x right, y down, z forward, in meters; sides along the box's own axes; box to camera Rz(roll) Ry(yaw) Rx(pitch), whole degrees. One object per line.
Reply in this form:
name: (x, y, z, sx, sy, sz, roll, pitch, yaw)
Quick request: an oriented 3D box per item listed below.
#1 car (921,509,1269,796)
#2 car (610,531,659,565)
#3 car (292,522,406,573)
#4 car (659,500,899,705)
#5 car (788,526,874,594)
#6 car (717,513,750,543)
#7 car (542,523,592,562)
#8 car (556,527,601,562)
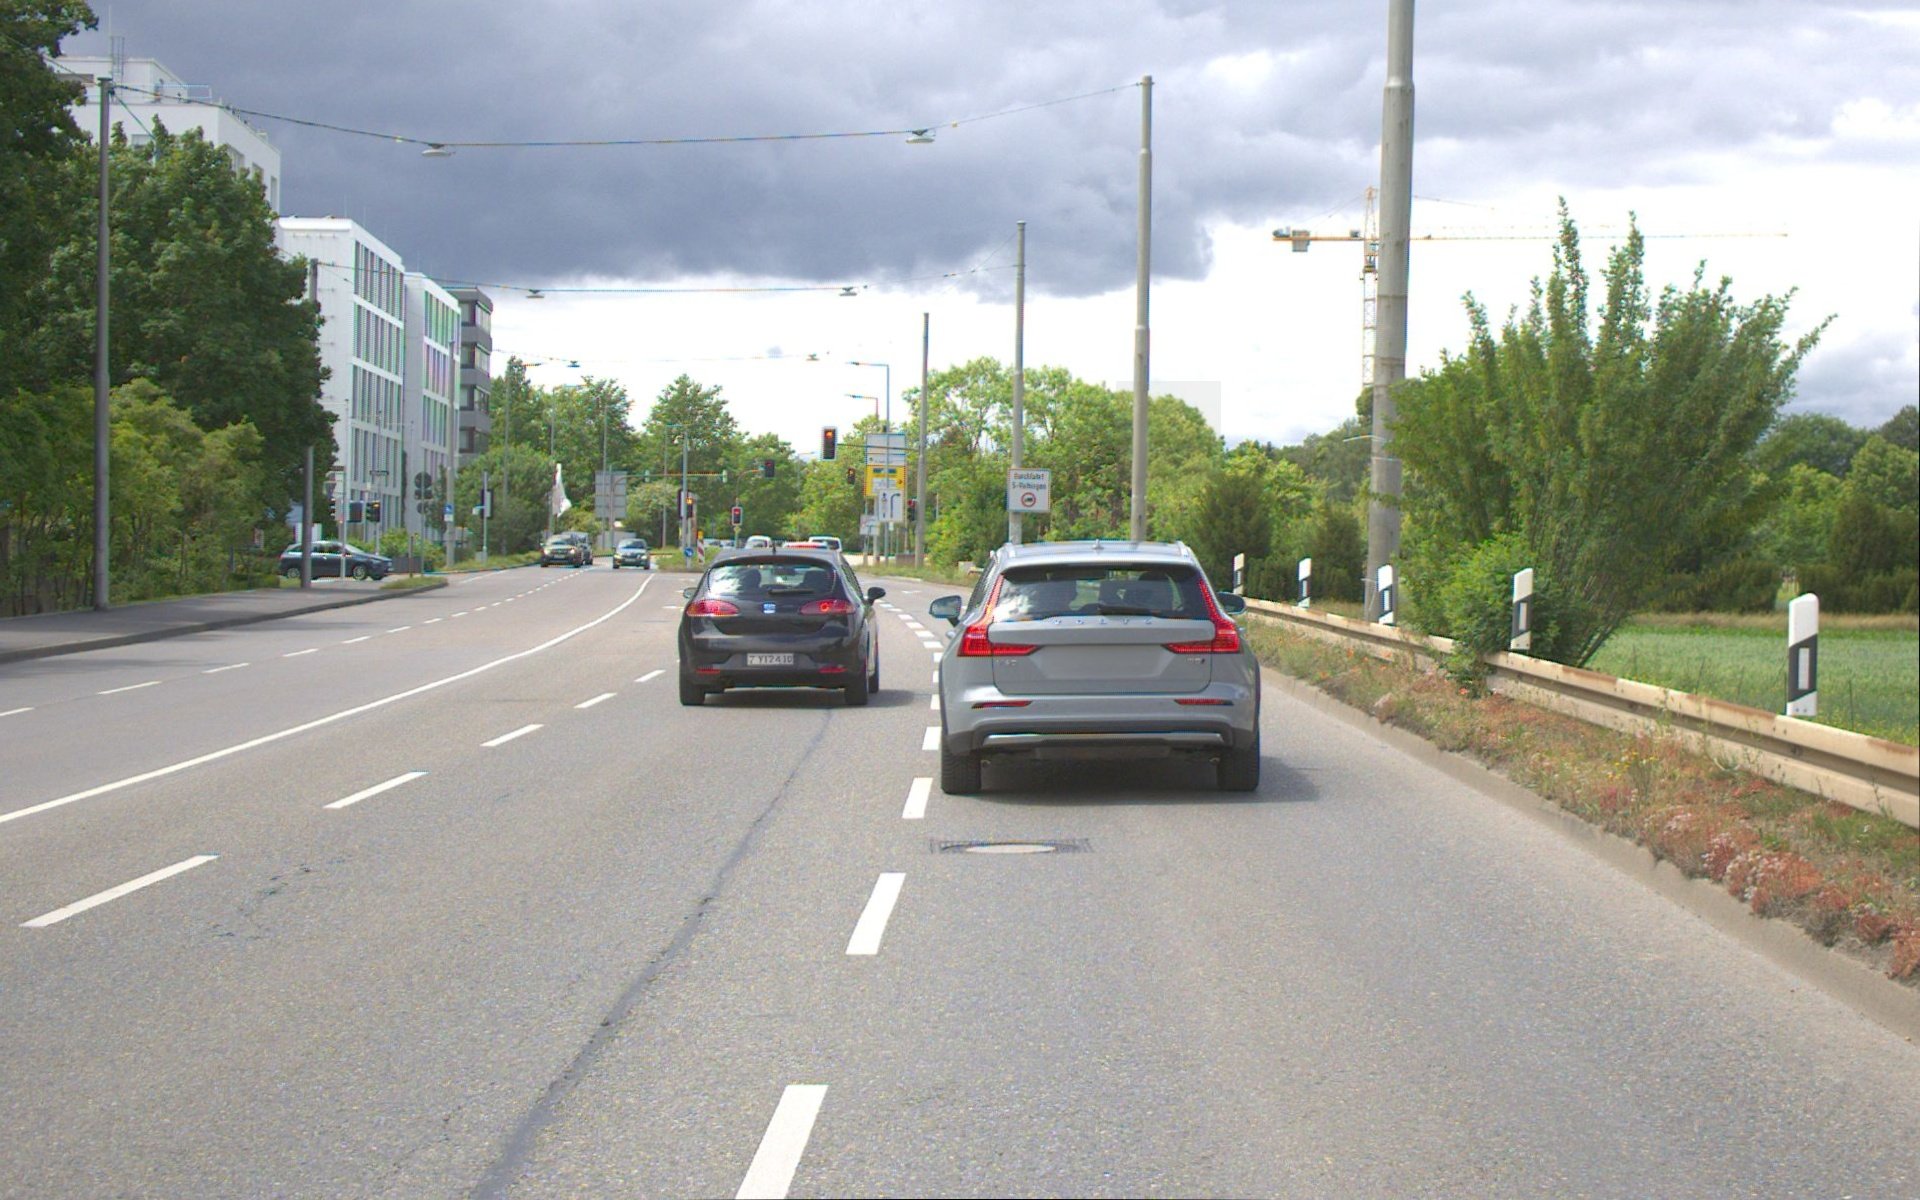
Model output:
car: (0.843, 0.285, 21.029, 1.896, 1.549, 4.000, 1, 0, 3)
car: (-15.562, -2.478, 164.271, 1.882, 1.515, 4.000, 3, 0, 0)
car: (-23.640, -2.031, 133.111, 3.987, 1.716, 2.000, 3, 0, 0)
car: (-1.637, 0.014, 32.434, 1.993, 1.711, 4.000, 3, 0, 0)
car: (-3.443, -1.060, 92.153, 1.993, 1.689, 4.000, 3, 0, 1)
car: (-14.577, -4.607, 221.334, 1.948, 1.744, 4.389, 3, 0, -3)
car: (-18.982, -2.778, 166.276, 1.882, 1.711, 4.000, 3, 0, 0)
car: (-20.217, -2.913, 182.219, 1.882, 1.711, 4.000, 3, 0, 0)
